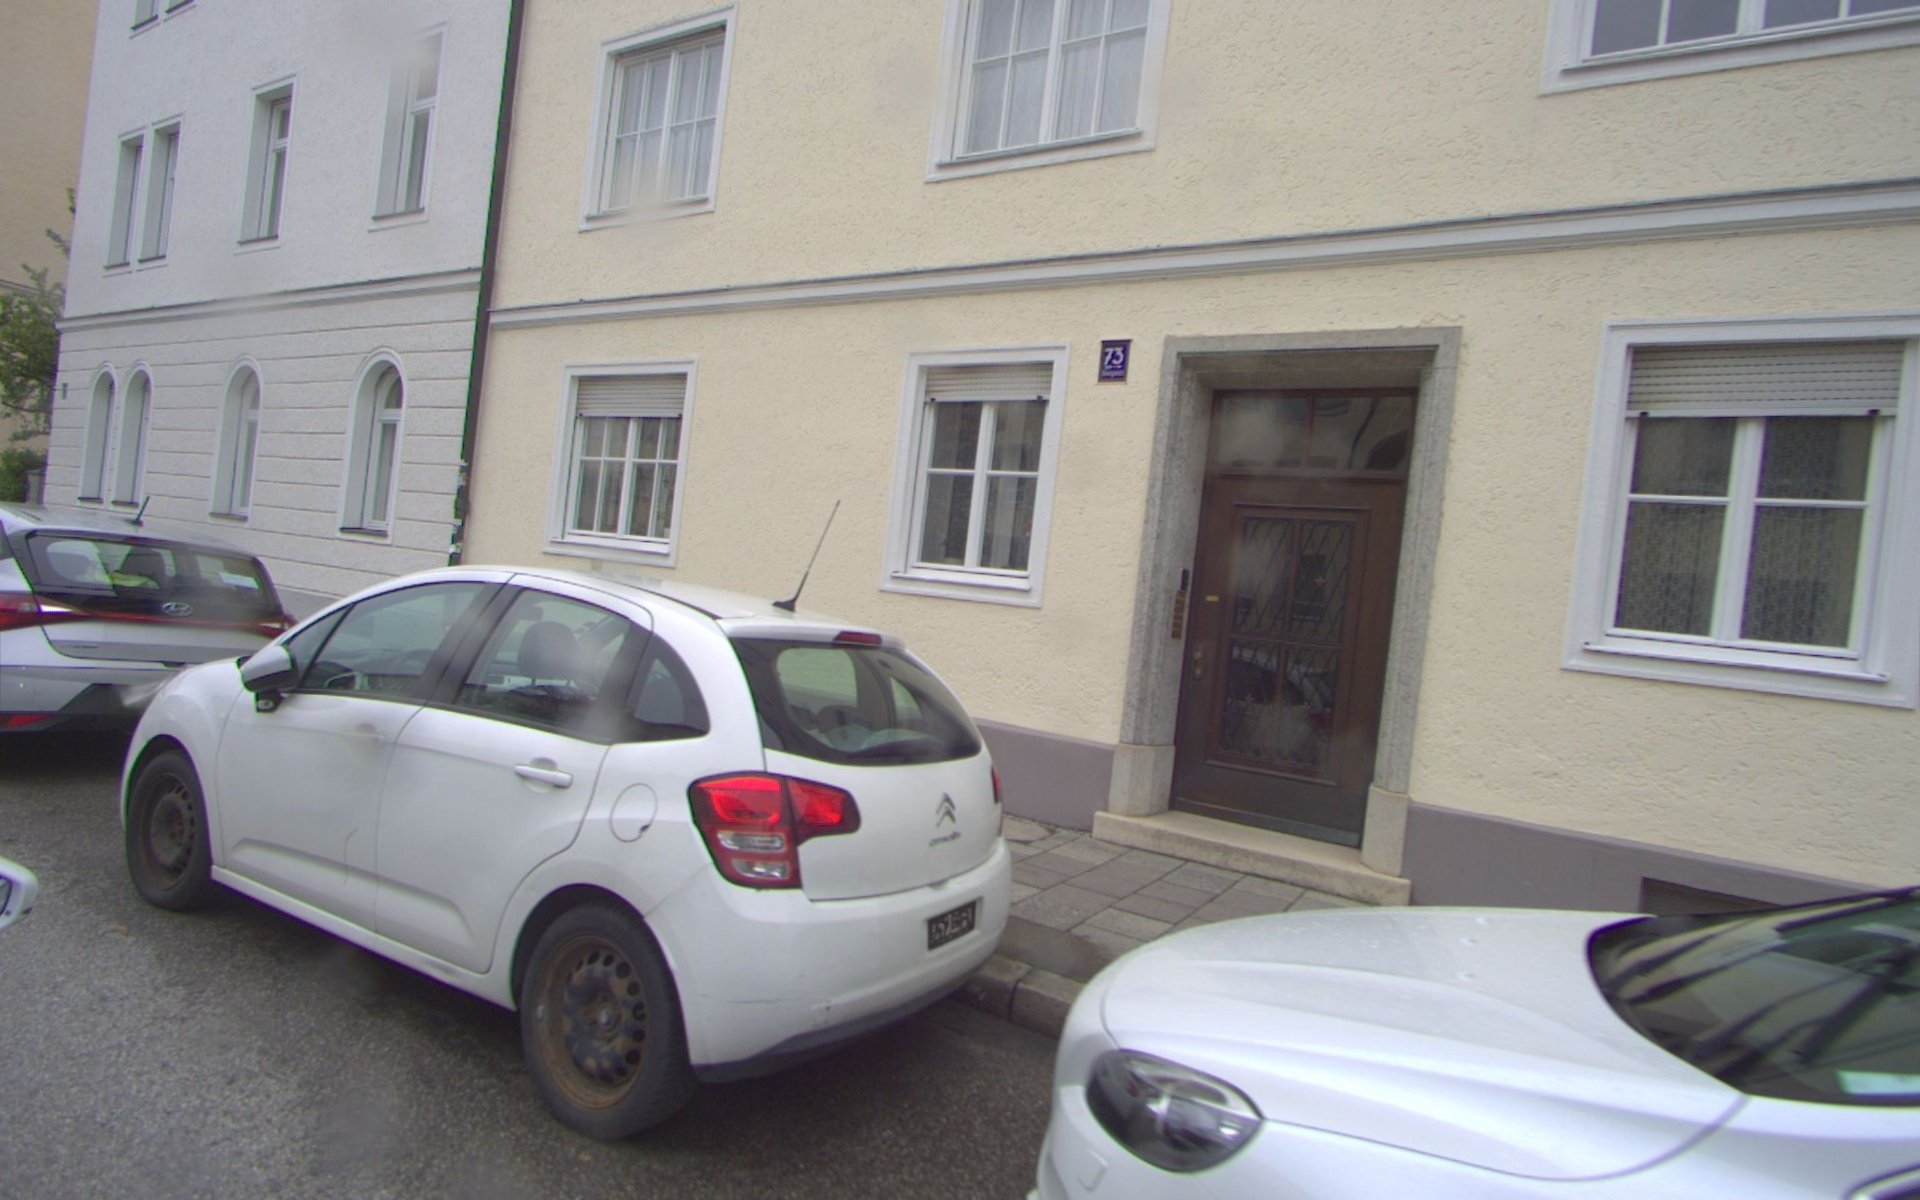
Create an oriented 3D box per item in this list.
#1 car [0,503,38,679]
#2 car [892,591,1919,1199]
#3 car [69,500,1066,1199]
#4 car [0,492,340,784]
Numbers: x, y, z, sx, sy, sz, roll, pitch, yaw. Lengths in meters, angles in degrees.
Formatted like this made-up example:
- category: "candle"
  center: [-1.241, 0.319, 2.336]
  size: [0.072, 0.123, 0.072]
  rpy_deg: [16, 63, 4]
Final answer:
- category: "car"
  center: [-10.115, -0.363, 8.894]
  size: [4.346, 1.449, 1.594]
  rpy_deg: [7, -2, 31]
- category: "car"
  center: [2.134, 1.035, 1.472]
  size: [4.210, 1.510, 1.695]
  rpy_deg: [8, 0, 31]
- category: "car"
  center: [-1.692, 0.601, 3.993]
  size: [3.735, 1.509, 1.602]
  rpy_deg: [7, 0, 31]
- category: "car"
  center: [-6.086, 0.094, 6.609]
  size: [3.878, 1.449, 1.696]
  rpy_deg: [6, -2, 31]
